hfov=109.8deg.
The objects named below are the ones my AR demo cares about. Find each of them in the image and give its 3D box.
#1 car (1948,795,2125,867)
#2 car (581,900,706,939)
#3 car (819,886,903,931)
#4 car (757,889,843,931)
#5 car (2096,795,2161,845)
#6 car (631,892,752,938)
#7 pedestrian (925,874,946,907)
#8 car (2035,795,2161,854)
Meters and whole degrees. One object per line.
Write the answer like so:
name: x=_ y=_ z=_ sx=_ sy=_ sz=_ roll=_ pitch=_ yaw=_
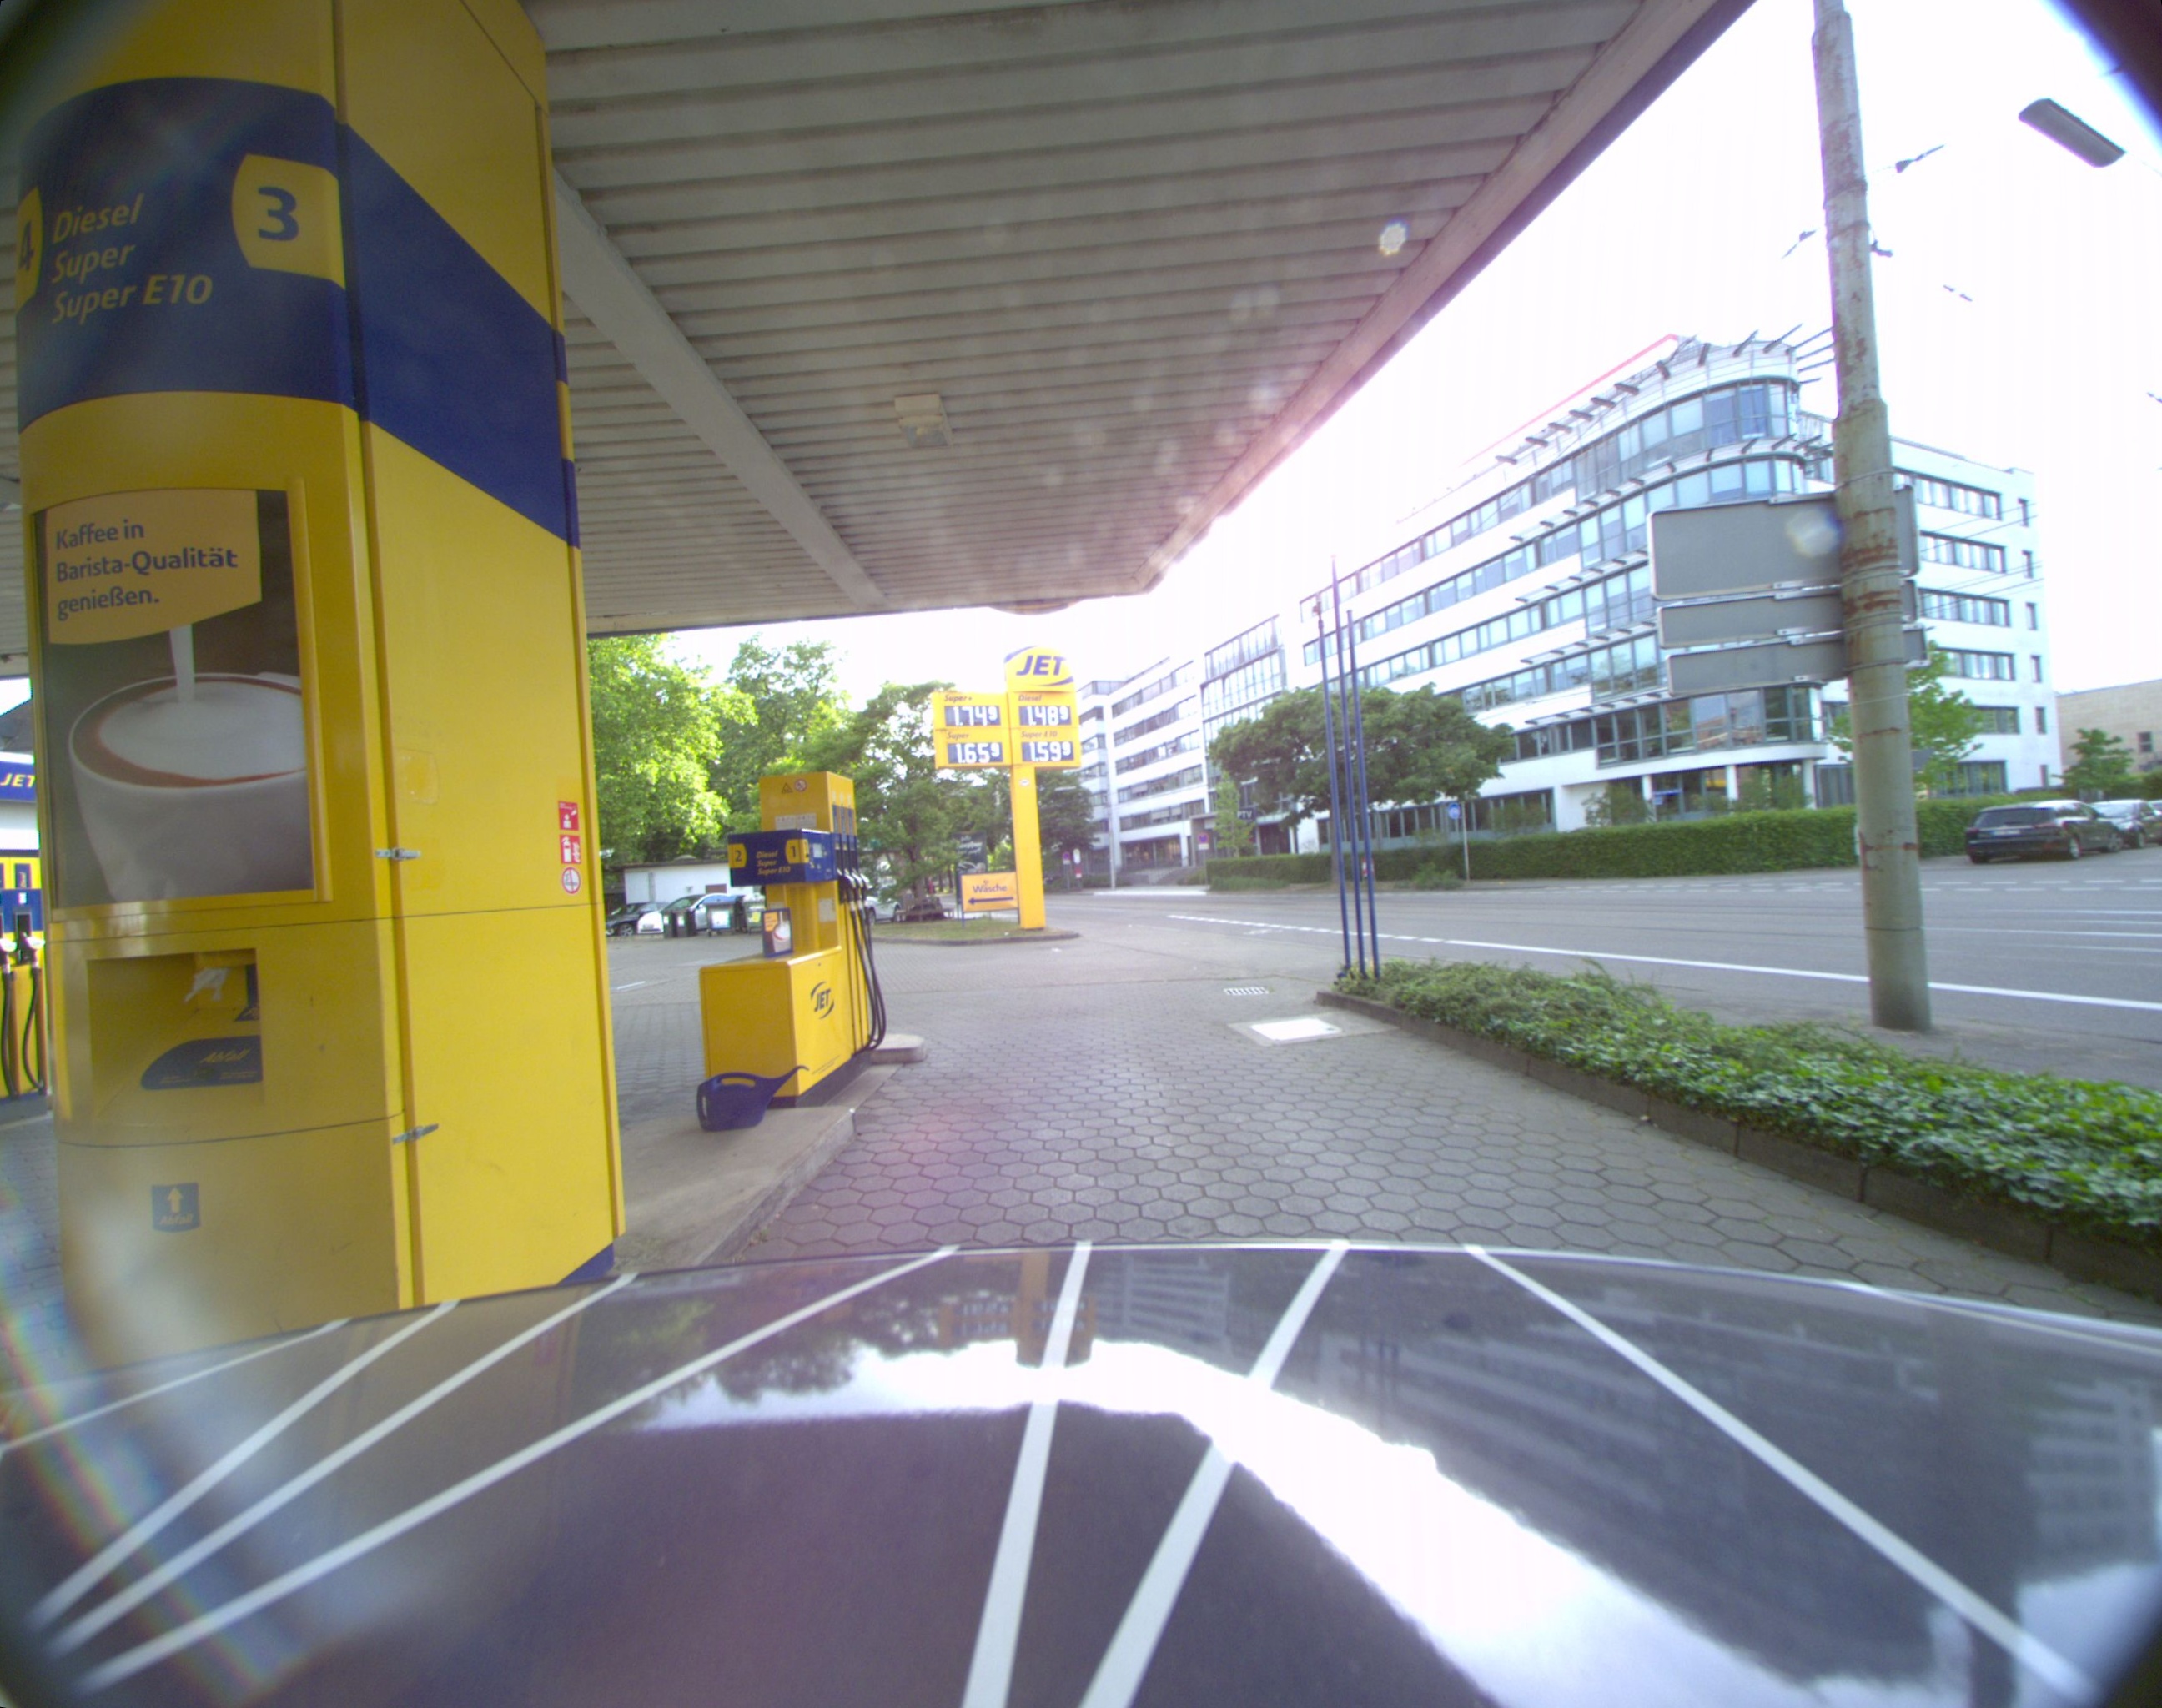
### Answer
car: x=27.373 y=-0.649 z=21.762 sx=4.438 sy=1.603 sz=1.976 roll=-5 pitch=-1 yaw=-23
car: x=-17.750 y=2.633 z=31.061 sx=1.745 sy=1.269 sz=4.230 roll=-5 pitch=-3 yaw=19
car: x=-8.690 y=2.117 z=30.372 sx=1.739 sy=1.500 sz=4.003 roll=-4 pitch=-2 yaw=6
car: x=-11.806 y=2.324 z=32.233 sx=1.739 sy=1.500 sz=4.004 roll=-4 pitch=-2 yaw=6
car: x=37.147 y=-1.237 z=26.071 sx=4.109 sy=1.544 sz=1.786 roll=-4 pitch=-1 yaw=-23
car: x=-15.364 y=2.385 z=30.245 sx=1.785 sy=1.514 sz=4.229 roll=-4 pitch=-3 yaw=17
pedestrian: x=-9.125 y=2.294 z=47.634 sx=0.934 sy=2.001 sz=1.214 roll=-2 pitch=-1 yaw=-24
car: x=32.488 y=-0.942 z=24.033 sx=4.109 sy=1.544 sz=1.786 roll=-4 pitch=-1 yaw=-23
